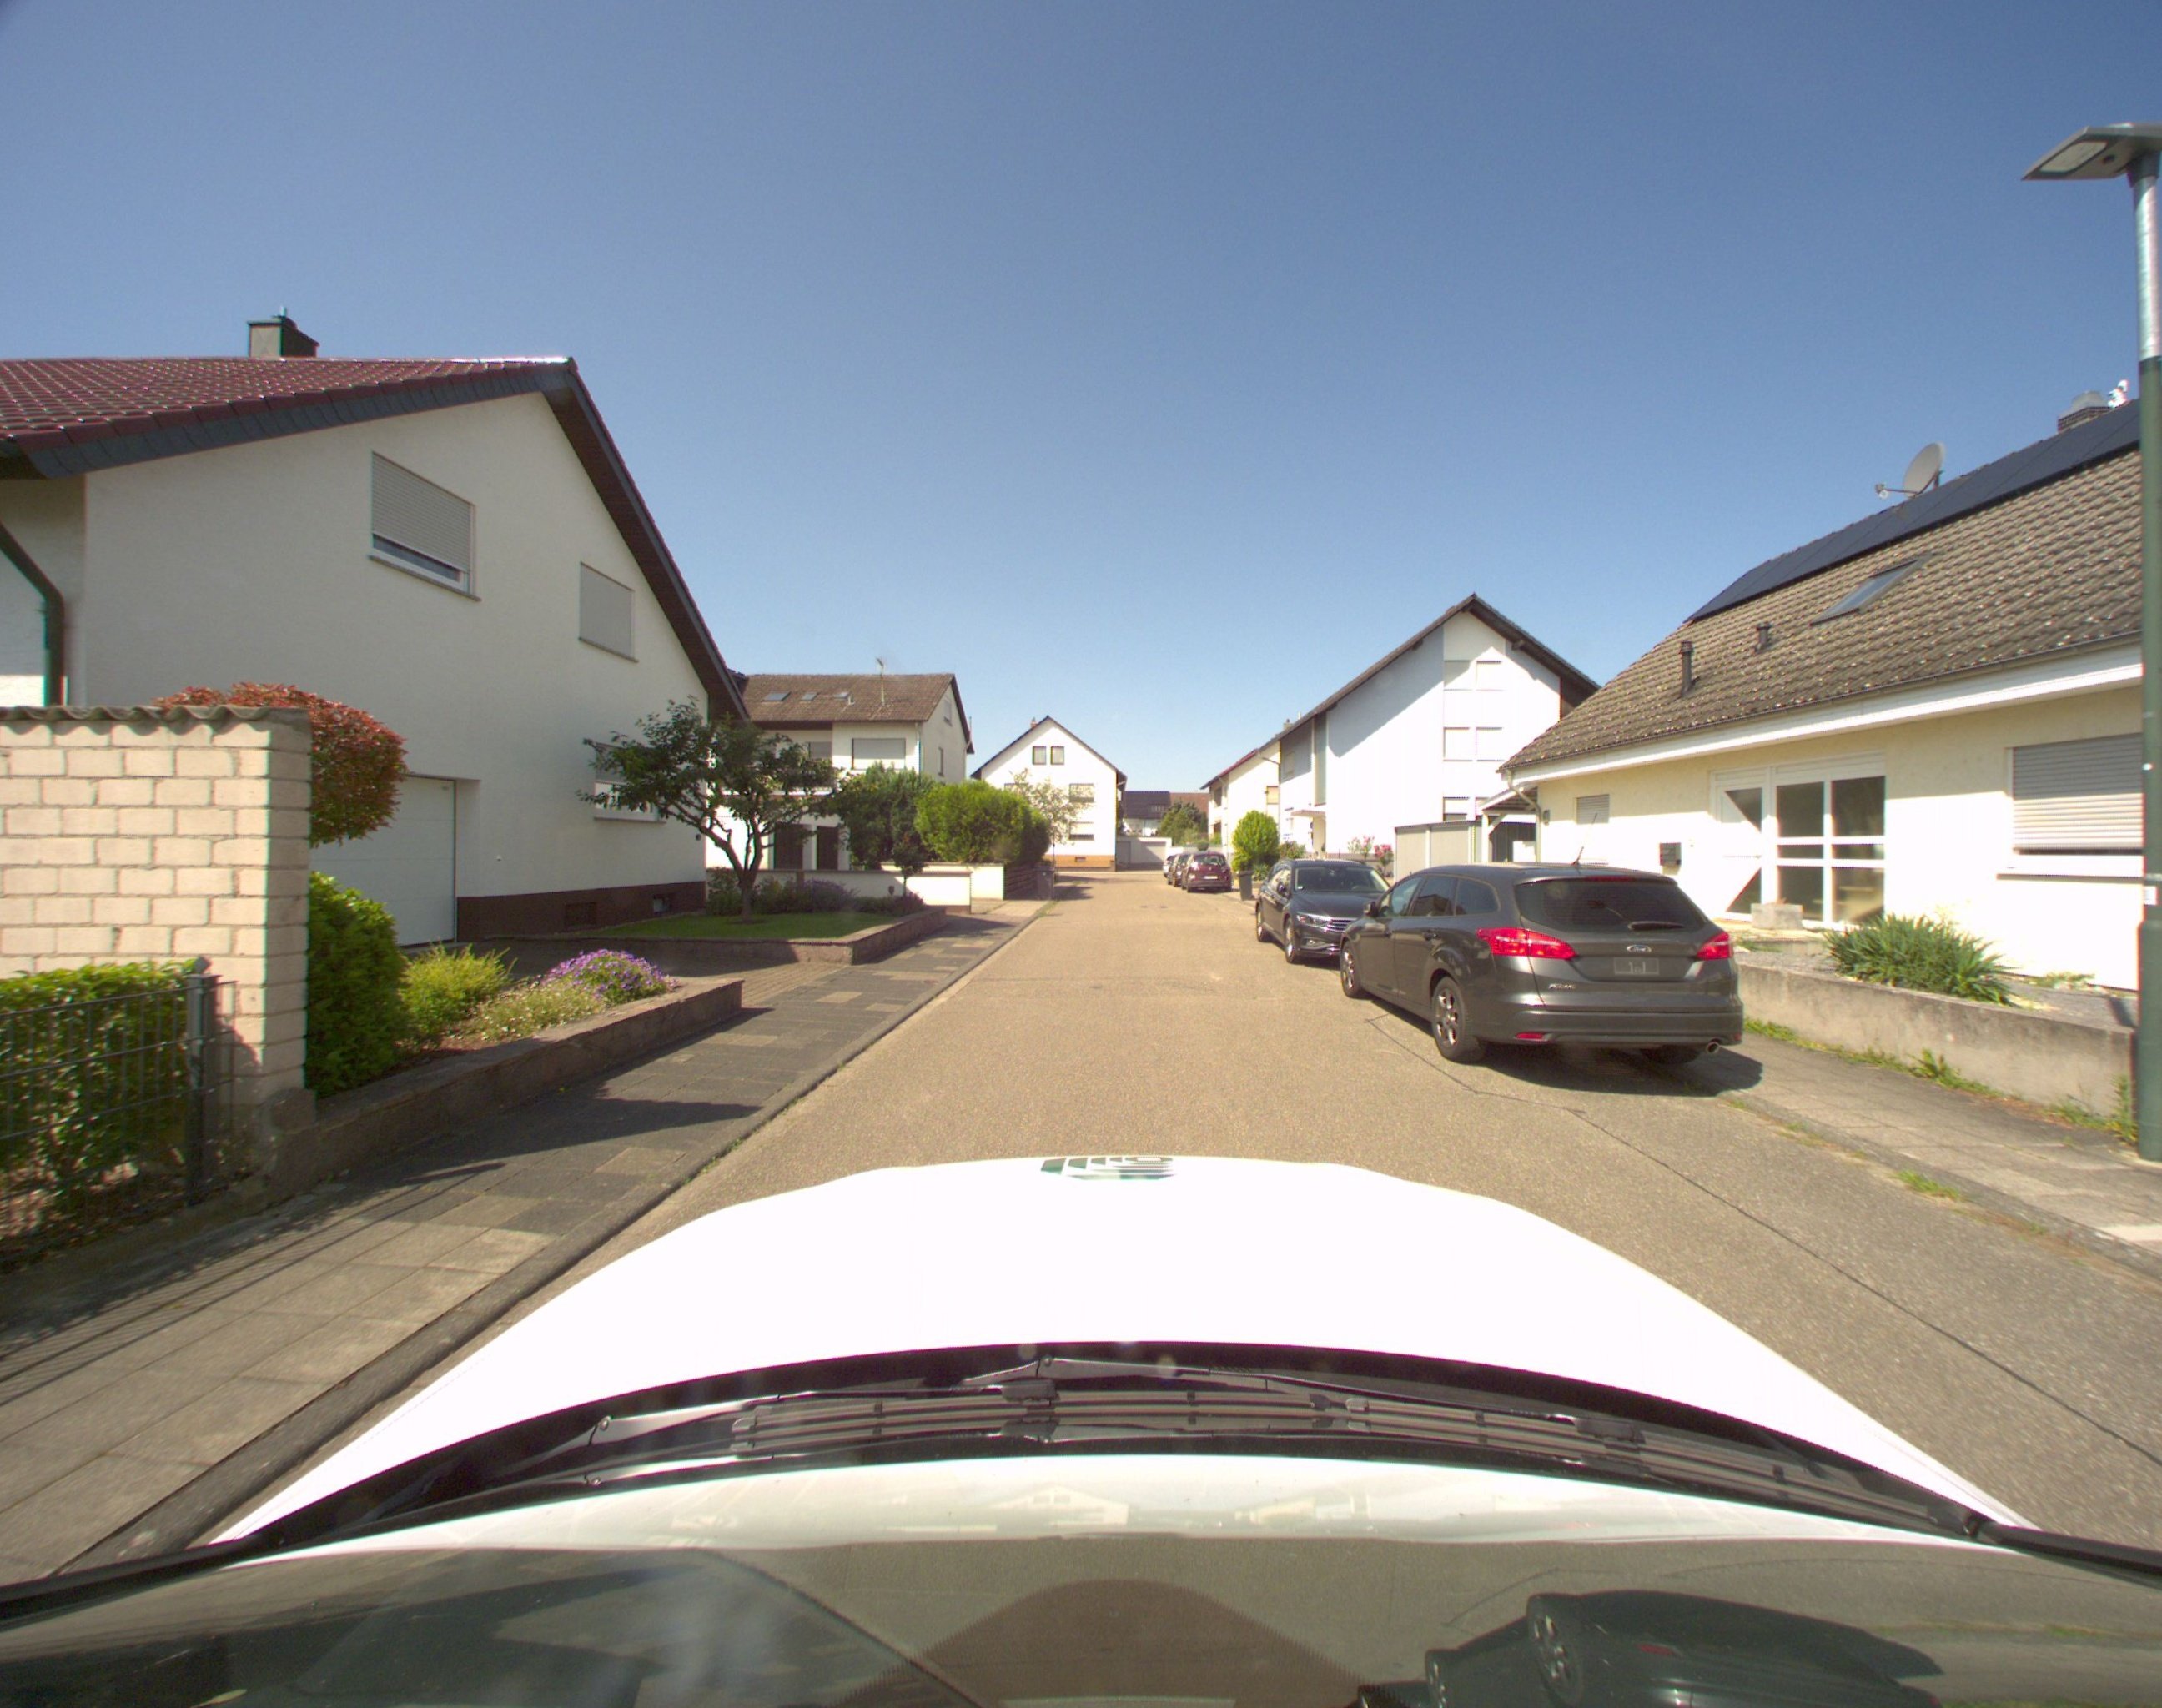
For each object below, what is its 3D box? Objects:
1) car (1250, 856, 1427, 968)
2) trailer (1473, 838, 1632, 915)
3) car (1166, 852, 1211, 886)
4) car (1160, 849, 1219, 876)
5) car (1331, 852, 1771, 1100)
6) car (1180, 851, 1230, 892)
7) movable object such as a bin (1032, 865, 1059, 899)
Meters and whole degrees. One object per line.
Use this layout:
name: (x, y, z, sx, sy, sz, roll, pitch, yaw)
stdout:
car: (3.832, 0.765, 12.906, 1.709, 1.438, 4.508, 0, 0, 4)
trailer: (10.698, 0.484, 18.596, 2.822, 1.690, 1.404, 0, 0, 3)
car: (5.038, 0.674, 38.585, 1.639, 1.546, 4.048, 0, 0, 1)
car: (6.620, 0.530, 49.595, 1.630, 1.581, 3.832, 1, 0, 42)
car: (3.584, 0.766, 7.158, 1.636, 1.478, 4.002, 2, 1, 2)
car: (5.080, 0.680, 33.660, 1.638, 1.581, 4.150, 0, 0, 3)
movable object such as a bin: (-1.140, 0.908, 26.248, 0.815, 1.063, 0.611, 0, 0, 2)
